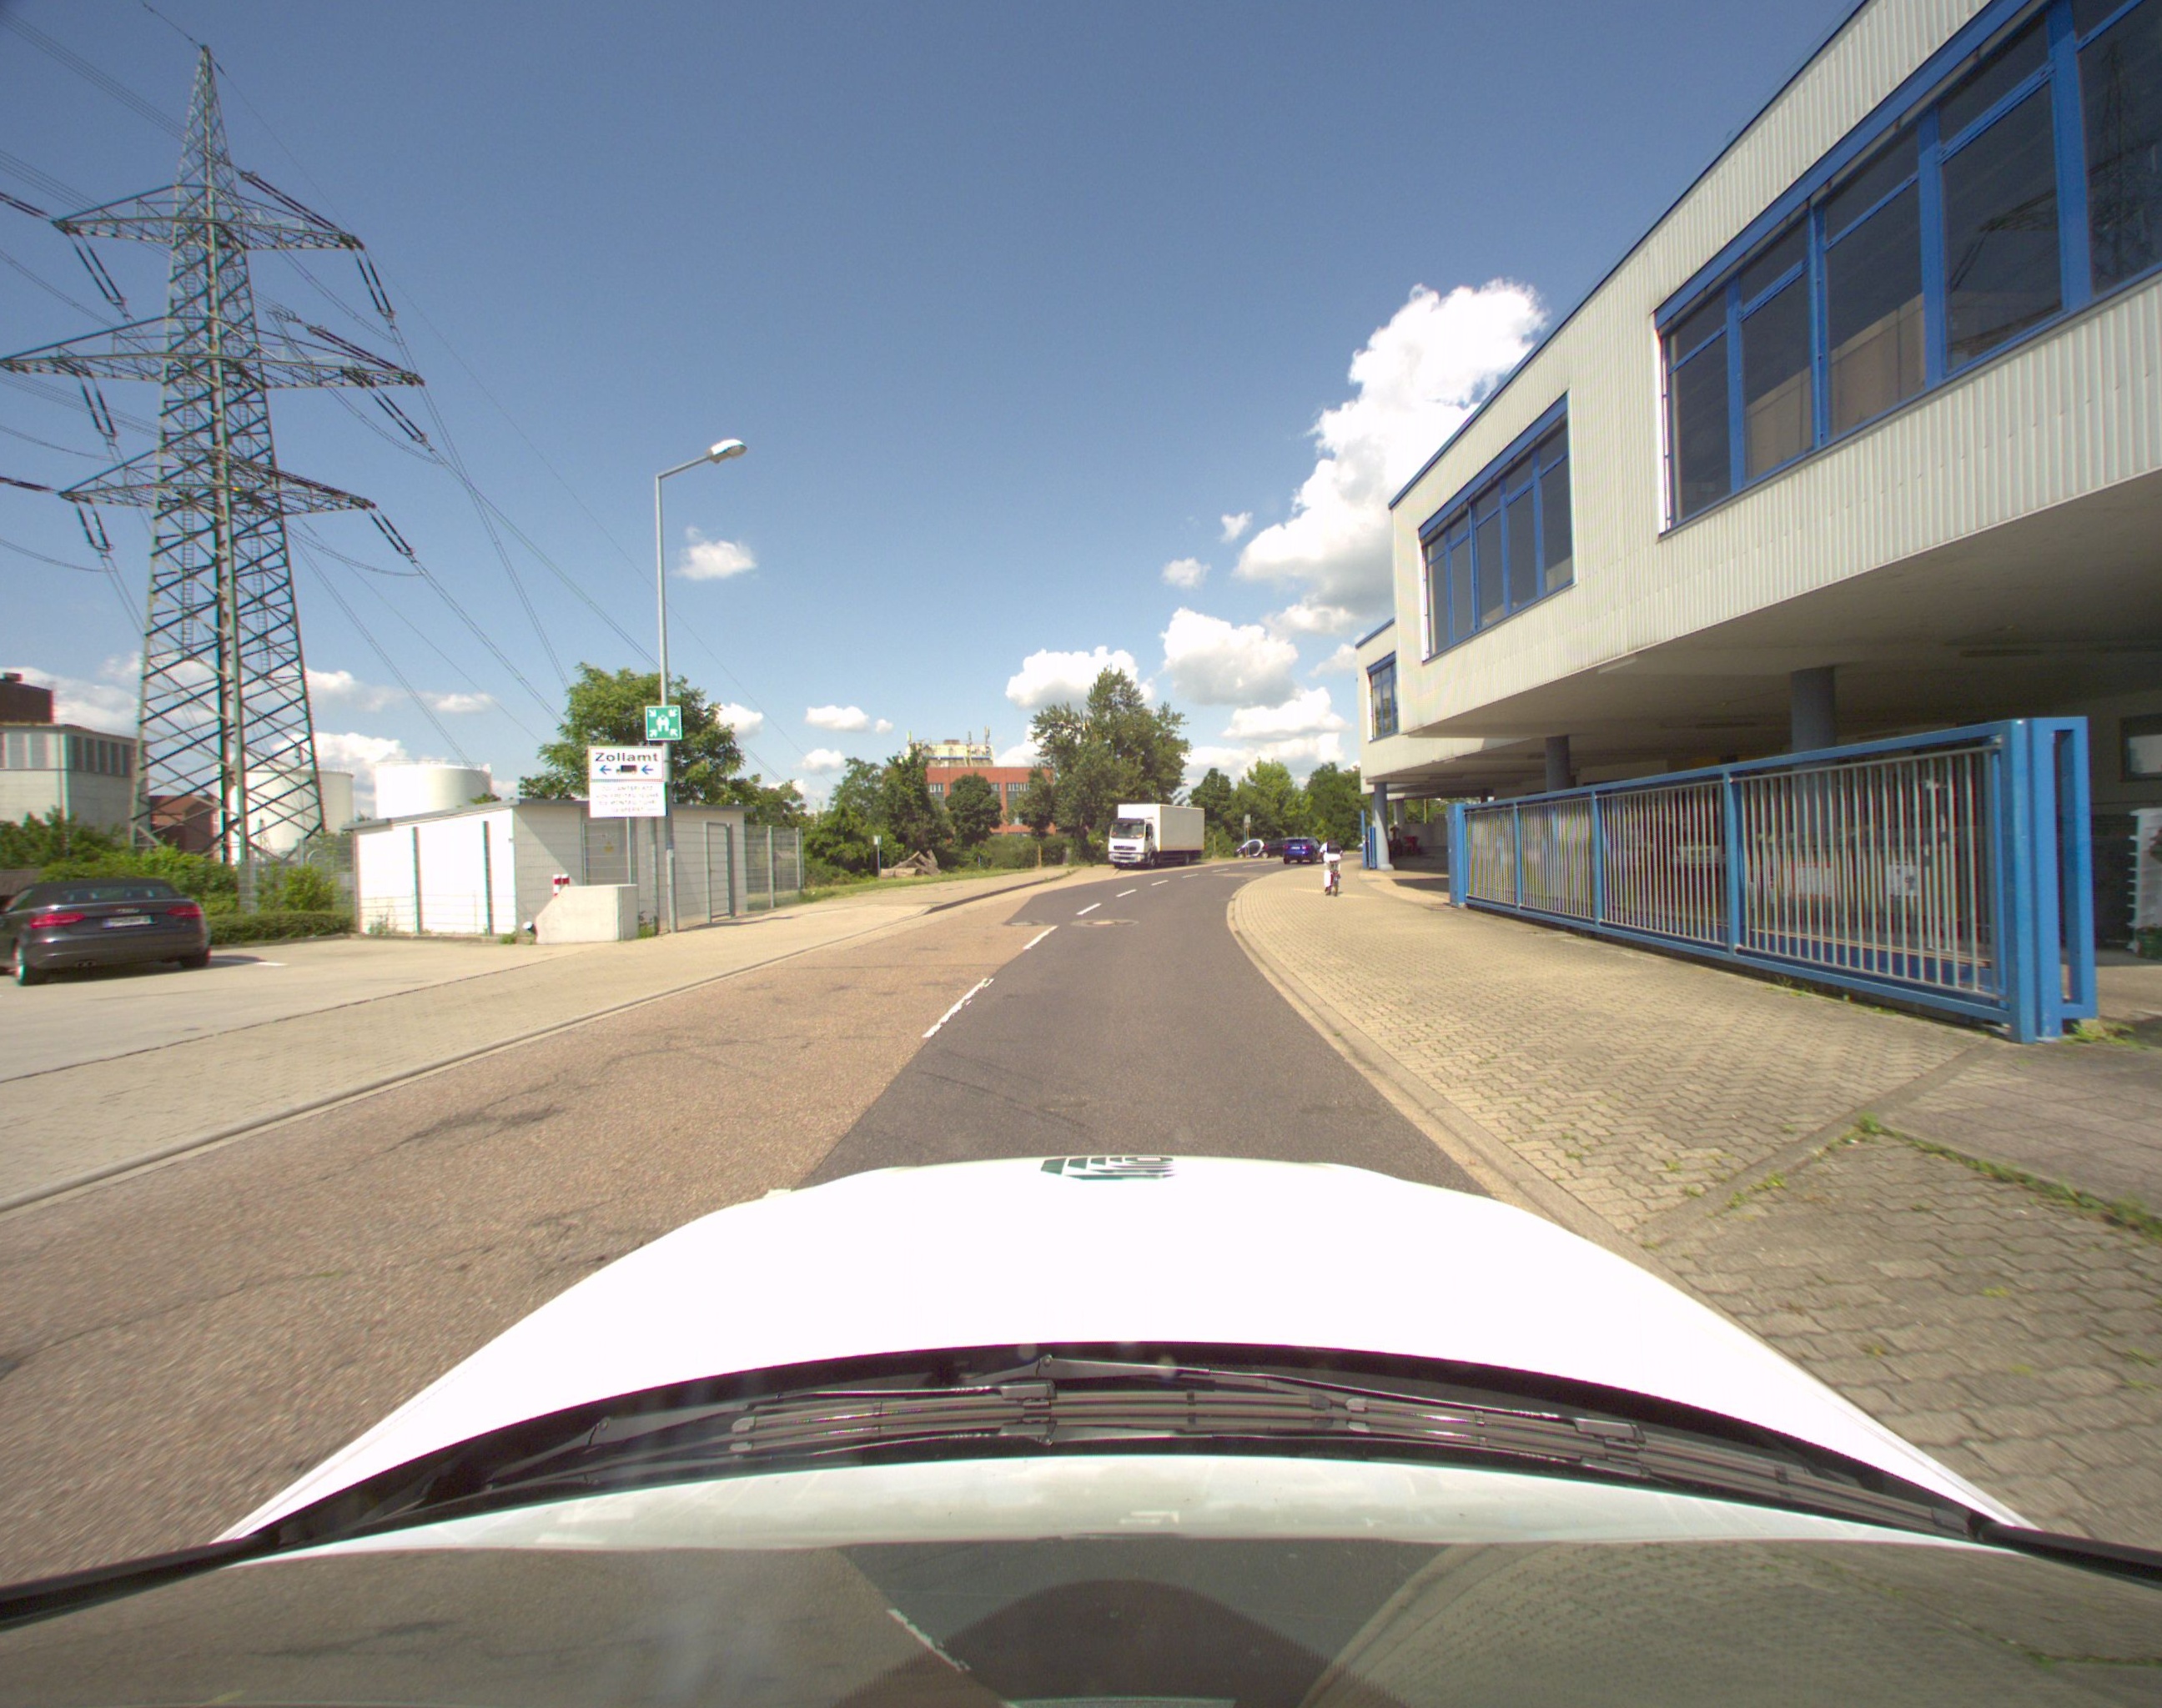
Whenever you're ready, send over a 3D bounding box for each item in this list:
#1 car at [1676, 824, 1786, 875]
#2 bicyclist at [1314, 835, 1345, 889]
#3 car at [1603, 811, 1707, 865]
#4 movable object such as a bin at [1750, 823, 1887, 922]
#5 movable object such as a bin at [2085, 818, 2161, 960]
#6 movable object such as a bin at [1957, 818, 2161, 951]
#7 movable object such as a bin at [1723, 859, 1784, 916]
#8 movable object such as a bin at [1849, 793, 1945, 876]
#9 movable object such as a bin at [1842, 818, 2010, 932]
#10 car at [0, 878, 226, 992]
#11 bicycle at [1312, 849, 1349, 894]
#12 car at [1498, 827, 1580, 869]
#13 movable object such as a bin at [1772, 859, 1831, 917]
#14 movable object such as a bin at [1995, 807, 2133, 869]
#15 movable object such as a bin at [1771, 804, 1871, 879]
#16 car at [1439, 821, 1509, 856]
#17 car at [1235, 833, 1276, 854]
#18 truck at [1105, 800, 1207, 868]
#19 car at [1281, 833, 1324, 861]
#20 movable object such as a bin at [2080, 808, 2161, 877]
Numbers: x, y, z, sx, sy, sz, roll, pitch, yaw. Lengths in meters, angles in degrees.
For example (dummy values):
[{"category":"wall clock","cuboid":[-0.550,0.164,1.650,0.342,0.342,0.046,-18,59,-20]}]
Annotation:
[{"category":"car","cuboid":[21.194,-0.169,26.531,3.678,1.546,1.823,-2,1,-34]},{"category":"bicyclist","cuboid":[6.675,0.202,21.893,0.659,1.397,0.861,-2,0,10]},{"category":"car","cuboid":[20.762,-0.604,29.424,4.122,1.780,1.741,-3,2,-34]},{"category":"movable object such as a bin","cuboid":[11.168,0.265,12.397,0.802,1.413,1.356,-1,0,-4]},{"category":"movable object such as a bin","cuboid":[11.170,0.340,8.007,0.802,1.413,1.425,-1,0,-4]},{"category":"movable object such as a bin","cuboid":[11.385,0.327,9.488,0.802,1.413,1.404,-1,0,-4]},{"category":"movable object such as a bin","cuboid":[11.687,0.570,14.159,0.587,0.943,0.543,-1,0,-4]},{"category":"movable object such as a bin","cuboid":[22.011,-0.547,21.957,2.928,2.085,1.304,-2,1,-34]},{"category":"movable object such as a bin","cuboid":[11.280,0.265,10.936,0.802,1.413,1.356,-1,0,-4]},{"category":"car","cuboid":[-14.854,1.128,12.351,3.948,1.378,1.815,-2,1,32]},{"category":"bicycle","cuboid":[6.725,0.439,22.036,0.662,1.109,2.173,-2,1,10]},{"category":"car","cuboid":[21.672,-0.312,38.508,3.673,1.658,1.655,-5,3,-29]},{"category":"movable object such as a bin","cuboid":[11.767,0.551,13.304,0.597,0.910,0.417,-1,0,-4]},{"category":"movable object such as a bin","cuboid":[23.831,-0.387,19.792,1.462,1.404,1.572,-2,1,-4]},{"category":"movable object such as a bin","cuboid":[21.937,-0.402,24.122,3.450,2.085,1.419,-2,1,-34]},{"category":"car","cuboid":[23.509,-0.920,48.700,3.678,2.013,2.012,0,0,29]},{"category":"car","cuboid":[13.880,-0.840,64.940,2.887,1.570,1.891,-2,0,2]},{"category":"truck","cuboid":[4.595,-1.213,47.268,2.299,3.567,9.426,0,2,29]},{"category":"car","cuboid":[13.947,-0.453,51.095,1.892,1.593,4.728,-2,0,24]},{"category":"movable object such as a bin","cuboid":[23.880,-0.278,18.219,1.332,1.468,1.437,-2,1,-4]}]
